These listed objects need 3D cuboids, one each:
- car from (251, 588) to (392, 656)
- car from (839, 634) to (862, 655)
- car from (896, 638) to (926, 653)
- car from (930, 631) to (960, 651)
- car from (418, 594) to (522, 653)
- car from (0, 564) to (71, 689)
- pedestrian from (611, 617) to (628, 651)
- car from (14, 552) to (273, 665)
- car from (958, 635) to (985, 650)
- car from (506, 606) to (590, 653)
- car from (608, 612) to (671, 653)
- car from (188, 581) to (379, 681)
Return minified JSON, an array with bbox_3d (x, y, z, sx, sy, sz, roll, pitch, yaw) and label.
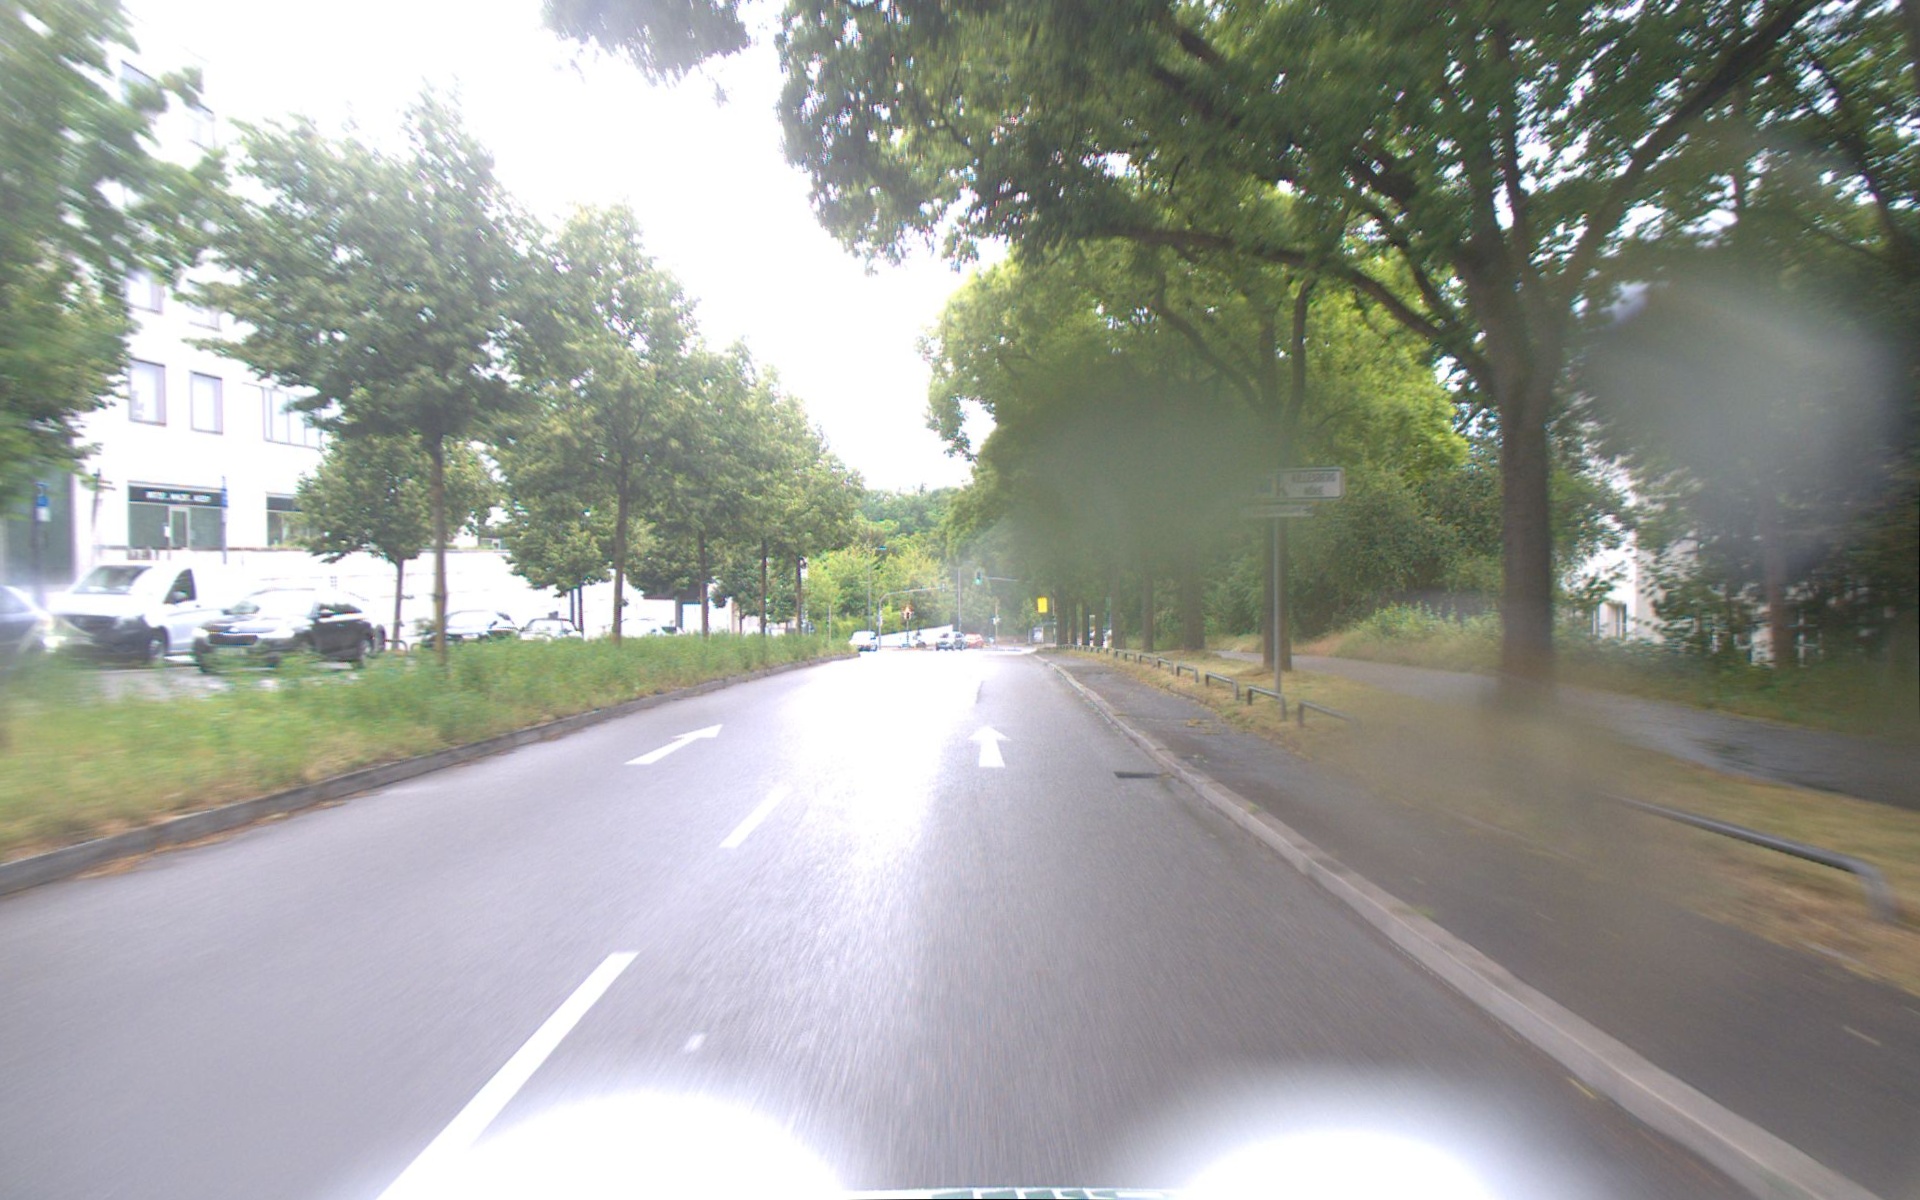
[{"bbox_3d":[-14.171,0.497,36.907,1.660,1.409,3.698,1,-1,0],"label":"car"},{"bbox_3d":[-9.328,3.759,140.932,1.675,1.777,4.337,0,-1,0],"label":"car"},{"bbox_3d":[-4.598,4.290,156.369,1.732,1.405,4.193,-3,-2,13],"label":"car"},{"bbox_3d":[-1.514,4.208,169.856,1.880,1.890,4.509,-5,-2,14],"label":"car"},{"bbox_3d":[-13.996,0.639,47.440,1.660,1.609,4.018,0,0,2],"label":"car"},{"bbox_3d":[-12.012,0.348,18.726,1.607,1.435,3.998,-1,2,2],"label":"car"},{"bbox_3d":[-18.446,1.842,89.547,0.693,1.806,1.021,-1,-2,1],"label":"pedestrian"},{"bbox_3d":[-14.598,0.170,29.991,2.078,1.848,5.260,0,-1,0],"label":"car"},{"bbox_3d":[1.305,4.874,187.517,1.835,1.602,4.225,2,-1,16],"label":"car"},{"bbox_3d":[-13.878,0.971,55.884,1.659,1.469,3.861,0,1,3],"label":"car"},{"bbox_3d":[-13.452,1.399,69.599,1.668,1.649,4.362,0,-2,1],"label":"car"},{"bbox_3d":[-11.722,0.481,28.942,1.660,1.609,4.018,0,1,1],"label":"car"}]
